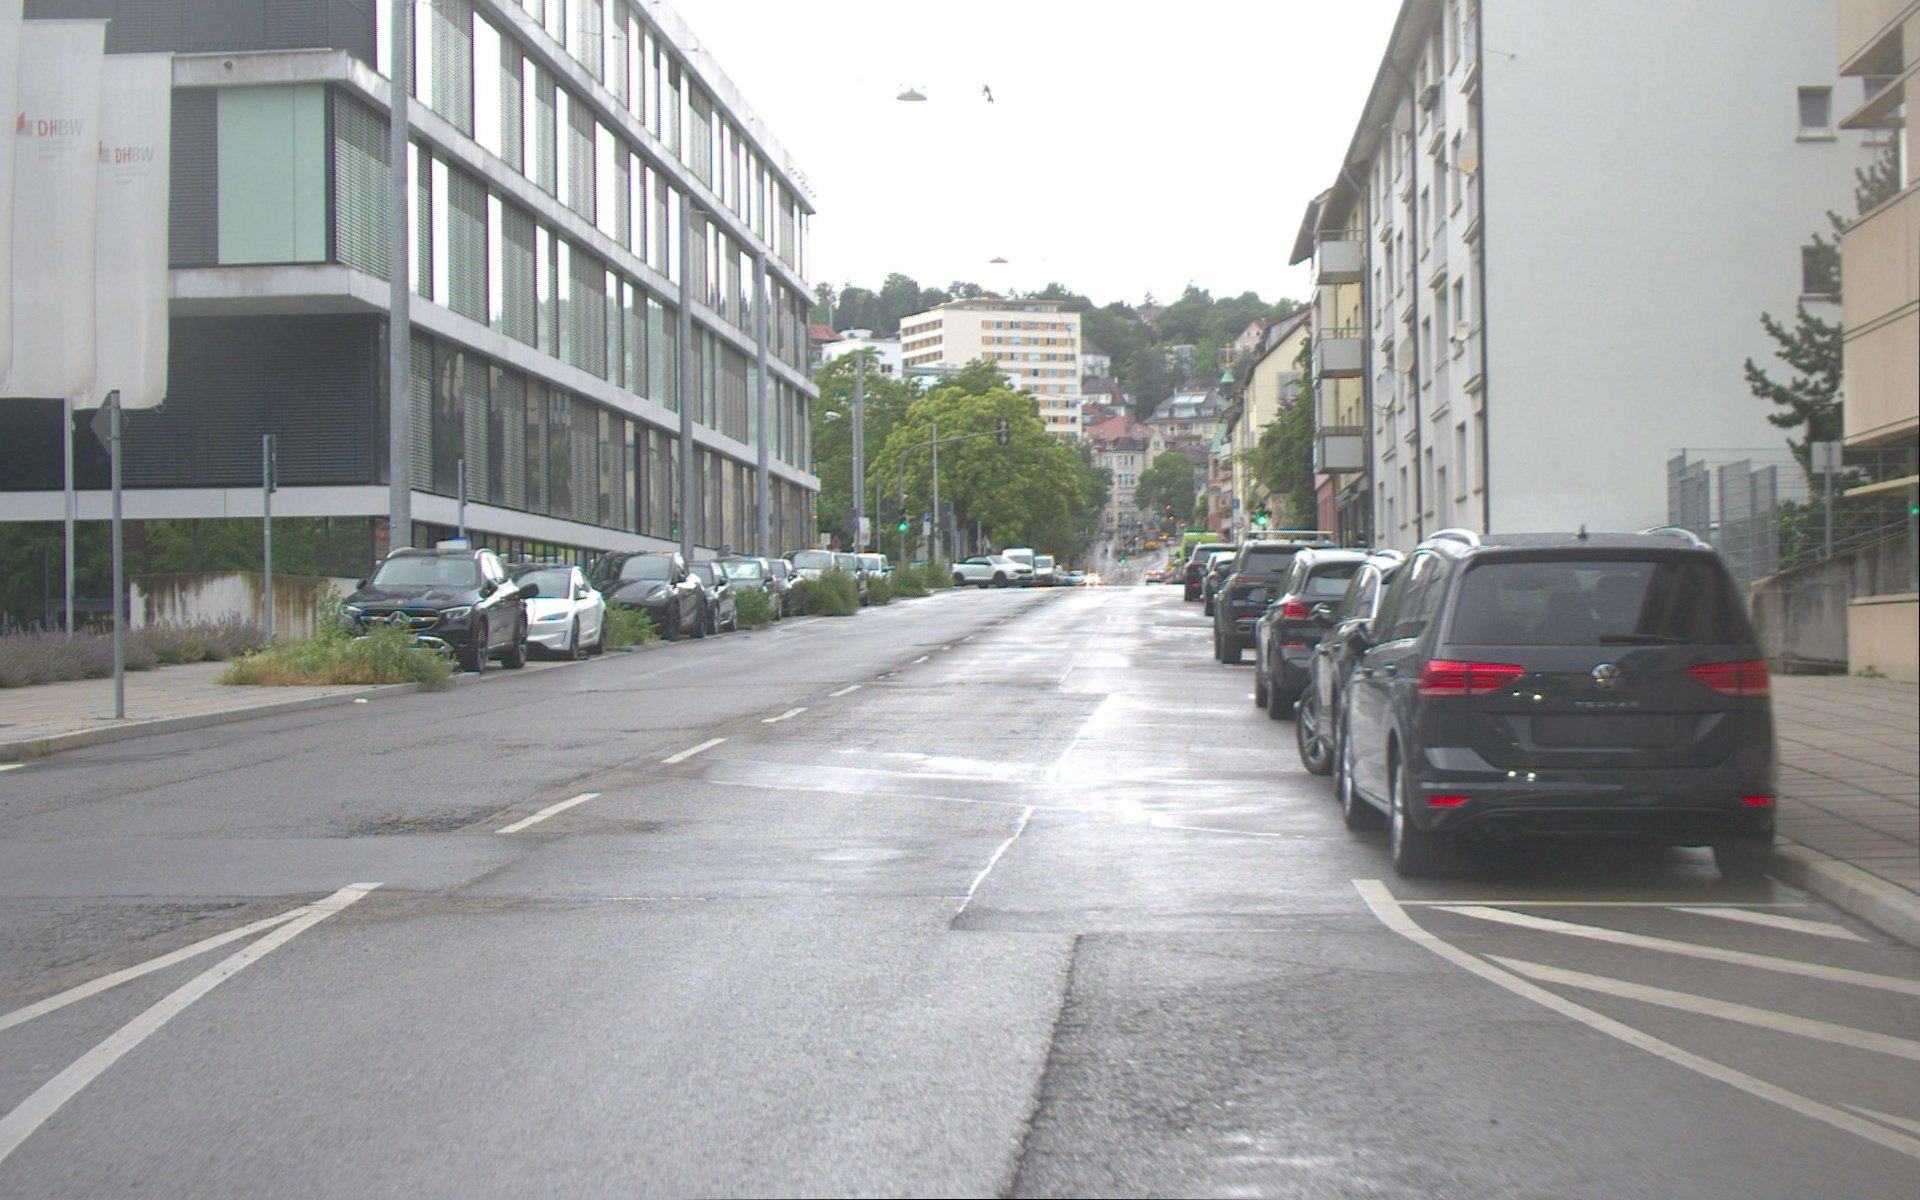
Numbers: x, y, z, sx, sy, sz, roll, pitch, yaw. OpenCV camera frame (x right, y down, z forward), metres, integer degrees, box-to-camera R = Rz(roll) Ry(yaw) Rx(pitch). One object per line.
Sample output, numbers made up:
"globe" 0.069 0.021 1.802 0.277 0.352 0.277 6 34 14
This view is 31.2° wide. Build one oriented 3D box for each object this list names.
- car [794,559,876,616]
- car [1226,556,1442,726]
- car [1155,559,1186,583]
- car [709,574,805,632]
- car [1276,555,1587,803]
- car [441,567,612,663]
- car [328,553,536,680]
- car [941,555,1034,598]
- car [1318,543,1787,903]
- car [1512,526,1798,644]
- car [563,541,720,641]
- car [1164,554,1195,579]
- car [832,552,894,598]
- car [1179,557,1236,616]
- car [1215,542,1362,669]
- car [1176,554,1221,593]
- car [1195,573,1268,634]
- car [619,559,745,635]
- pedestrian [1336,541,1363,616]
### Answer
"car" -3.626 -0.353 100.314 1.802 1.598 4.233 0 0 6
"car" 3.559 0.359 33.367 1.743 1.528 4.319 1 0 2
"car" 14.387 -1.969 234.811 1.867 1.598 4.188 0 0 6
"car" -4.979 0.064 84.687 1.838 1.391 4.392 0 0 3
"car" 3.152 0.497 23.640 1.725 1.507 4.057 2 0 3
"car" -6.621 0.211 52.942 1.821 1.414 4.402 0 0 3
"car" -7.033 0.197 46.252 1.849 1.612 4.490 0 0 3
"car" 1.220 -1.051 154.479 4.202 1.663 1.636 -3 -5 43
"car" 2.879 0.537 17.598 1.771 1.598 4.394 0 0 2
"car" 11.773 -0.252 58.437 4.438 1.707 1.905 -3 0 3
"car" -5.791 -0.177 63.052 1.963 1.744 4.941 0 0 6
"car" 14.496 -2.210 226.620 1.867 1.598 4.188 0 0 6
"car" -3.119 -0.815 111.219 1.595 1.454 3.718 0 1 5
"car" 7.549 -0.425 105.123 1.655 1.732 4.179 0 1 3
"car" 4.741 0.060 50.152 1.936 1.744 4.796 0 0 3
"car" 10.886 -1.184 156.655 1.867 1.764 4.188 0 0 6
"car" 6.659 0.075 84.590 1.706 1.449 3.984 0 0 3
"car" -5.537 -0.070 68.999 1.871 1.468 4.740 0 0 3
"pedestrian" 9.795 -0.545 86.435 0.639 1.864 0.538 0 0 5
